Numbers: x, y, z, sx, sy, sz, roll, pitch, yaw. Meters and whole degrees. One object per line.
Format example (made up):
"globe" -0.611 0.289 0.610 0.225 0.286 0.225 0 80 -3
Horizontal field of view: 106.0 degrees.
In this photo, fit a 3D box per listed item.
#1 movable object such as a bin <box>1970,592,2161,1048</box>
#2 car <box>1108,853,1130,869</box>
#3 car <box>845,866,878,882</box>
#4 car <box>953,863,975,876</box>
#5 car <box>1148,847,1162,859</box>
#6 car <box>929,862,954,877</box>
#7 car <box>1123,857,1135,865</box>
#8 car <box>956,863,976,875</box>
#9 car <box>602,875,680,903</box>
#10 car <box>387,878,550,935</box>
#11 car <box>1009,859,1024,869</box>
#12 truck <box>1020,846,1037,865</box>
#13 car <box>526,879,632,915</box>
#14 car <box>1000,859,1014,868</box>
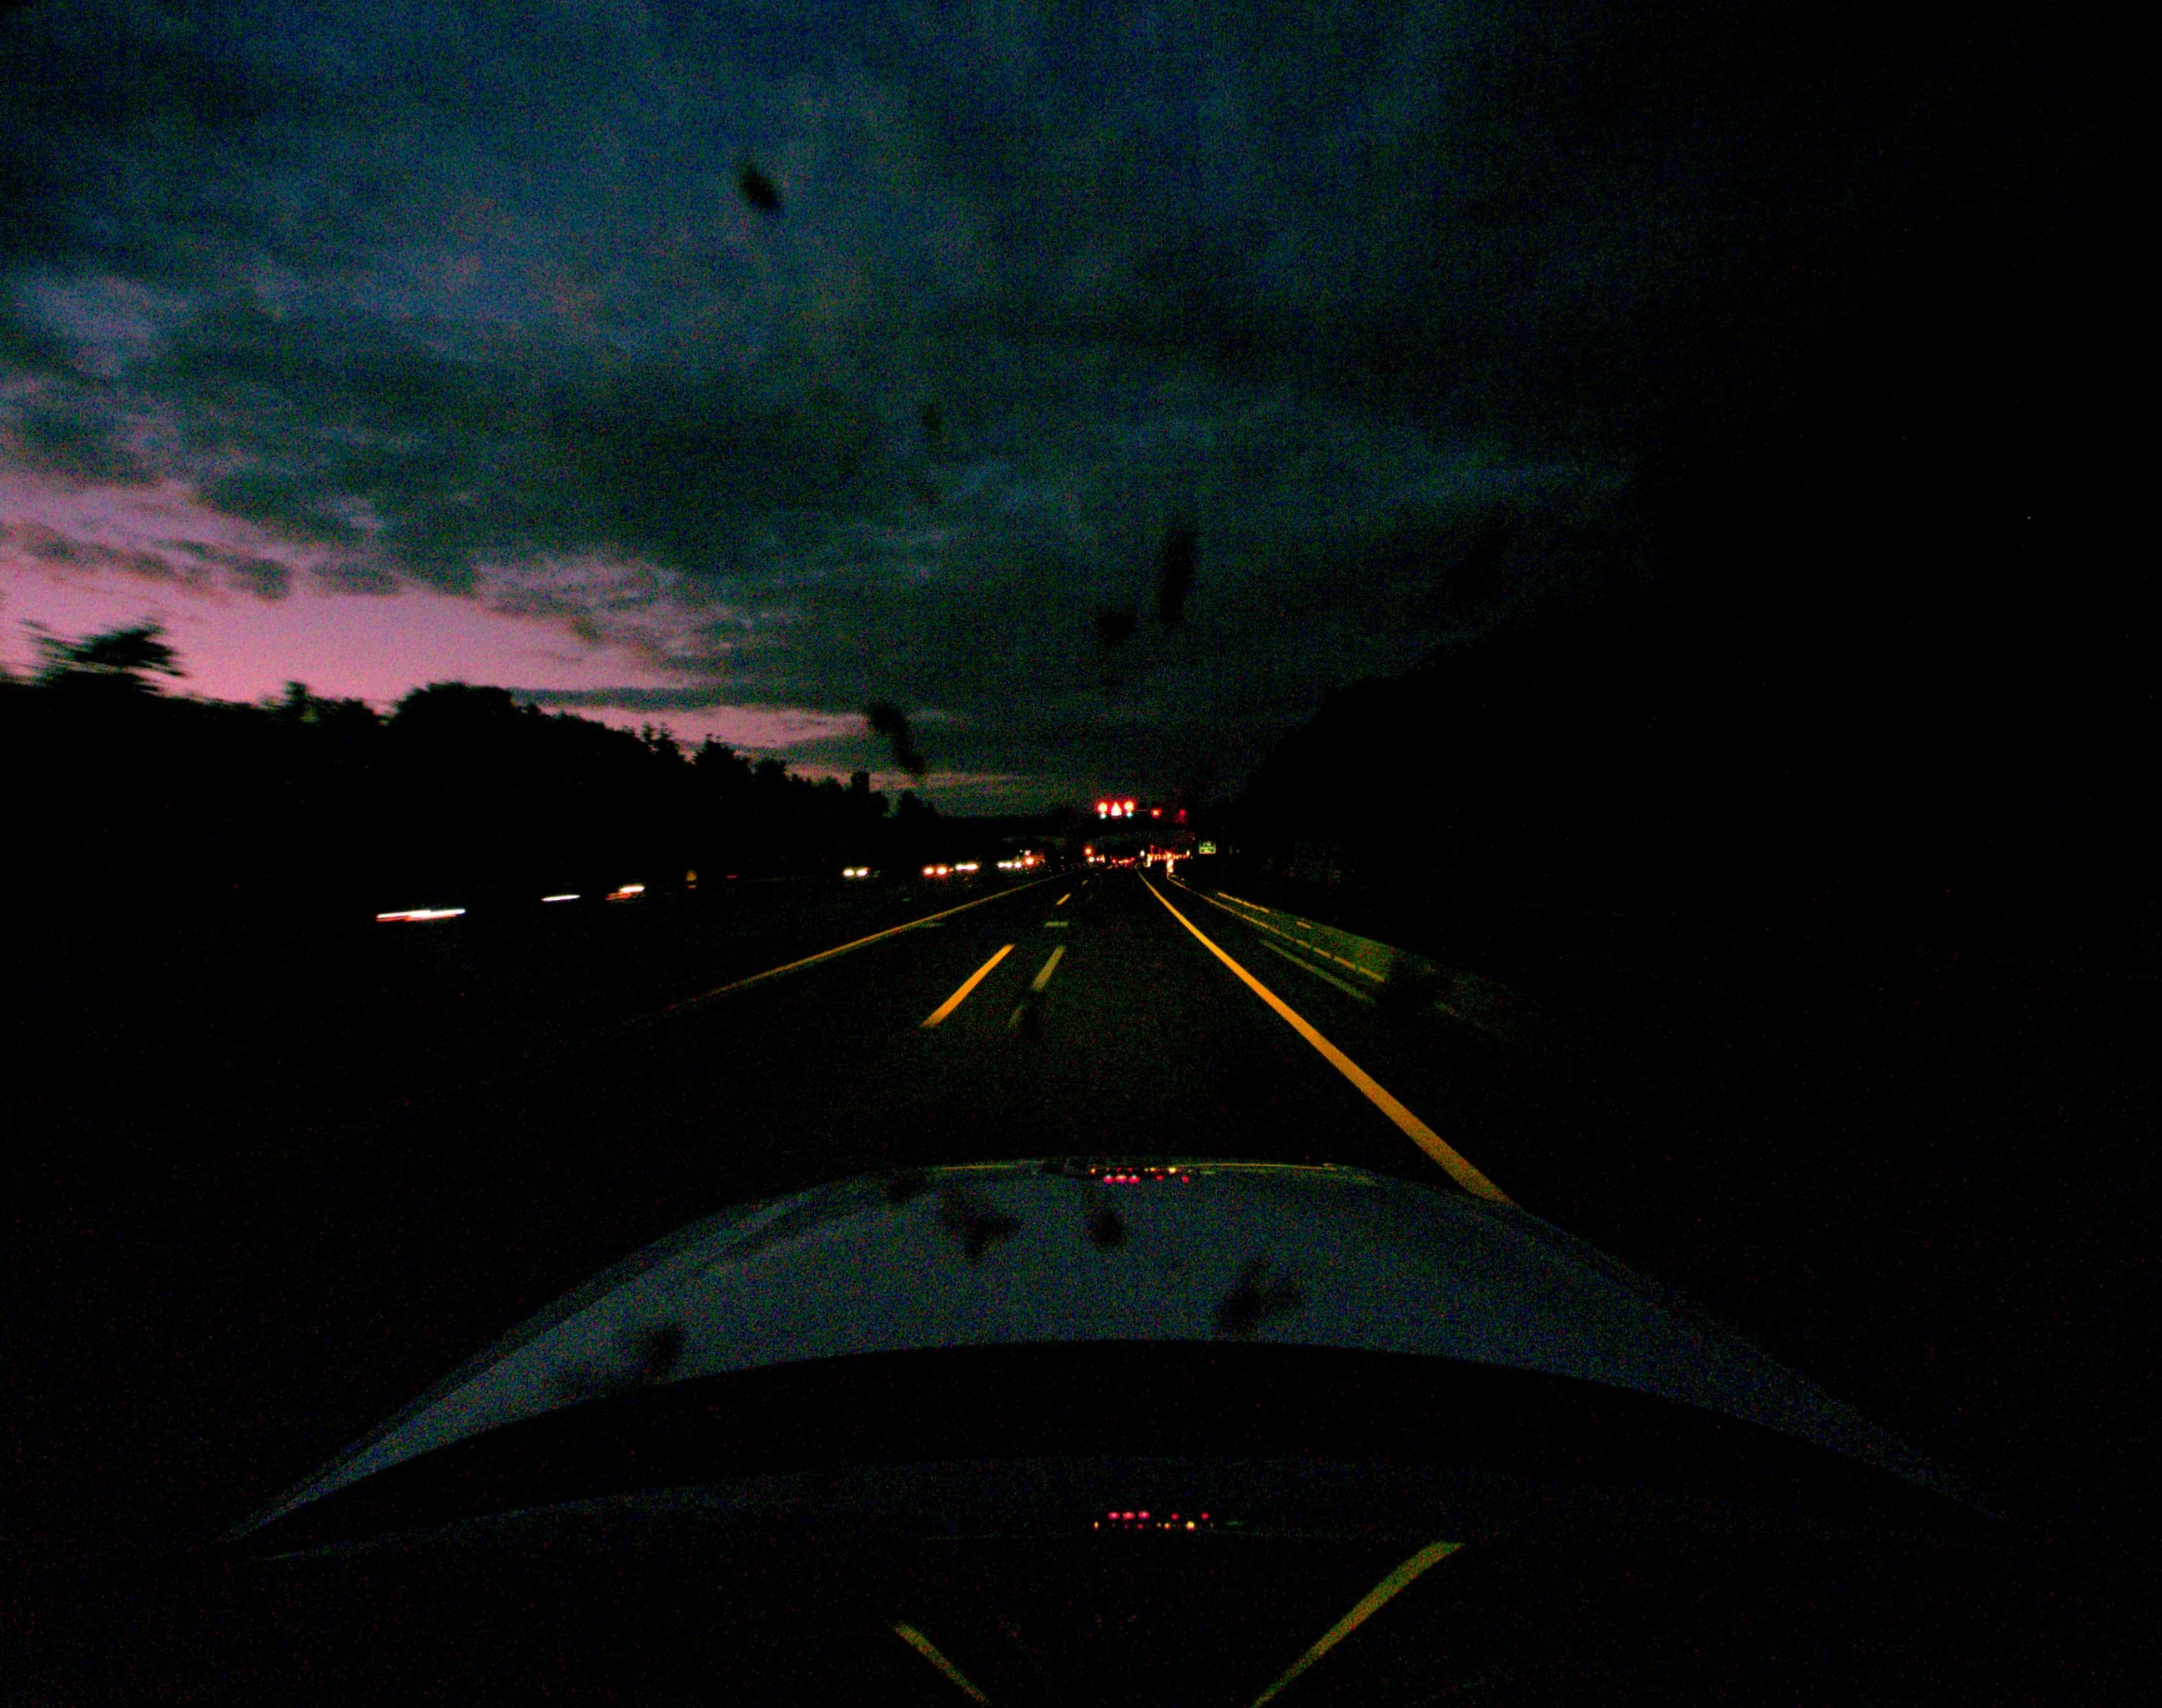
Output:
"movable object such as a bin" 8.627 -0.280 3.795 2.611 3.108 5.807 -2 -1 1
"car" 4.086 0.757 88.485 2.257 1.621 4.001 0 -1 1
"car" -22.709 2.028 84.283 1.796 1.638 4.756 0 0 4
"car" -15.329 2.003 106.970 1.796 1.638 4.756 0 0 4
"car" 21.592 -0.379 237.512 3.590 3.396 8.020 0 -1 3
"car" -15.893 1.733 92.774 1.671 1.638 4.756 0 0 4
"car" 8.765 1.301 149.427 1.961 1.437 4.007 0 0 7
"car" -16.499 2.138 116.721 1.729 1.638 5.176 0 0 4
"car" -26.113 2.059 48.533 1.817 1.485 4.706 0 0 4
"car" -21.460 1.763 28.829 1.892 1.738 4.812 0 0 4
"car" -10.930 1.651 138.183 1.729 1.638 4.897 0 0 4
"truck" -11.750 0.456 183.037 2.763 4.171 6.396 0 -1 6
"car" -23.442 1.986 38.279 1.802 1.485 4.706 0 0 4
"car" -13.140 1.687 145.029 1.583 1.604 5.041 0 0 6
